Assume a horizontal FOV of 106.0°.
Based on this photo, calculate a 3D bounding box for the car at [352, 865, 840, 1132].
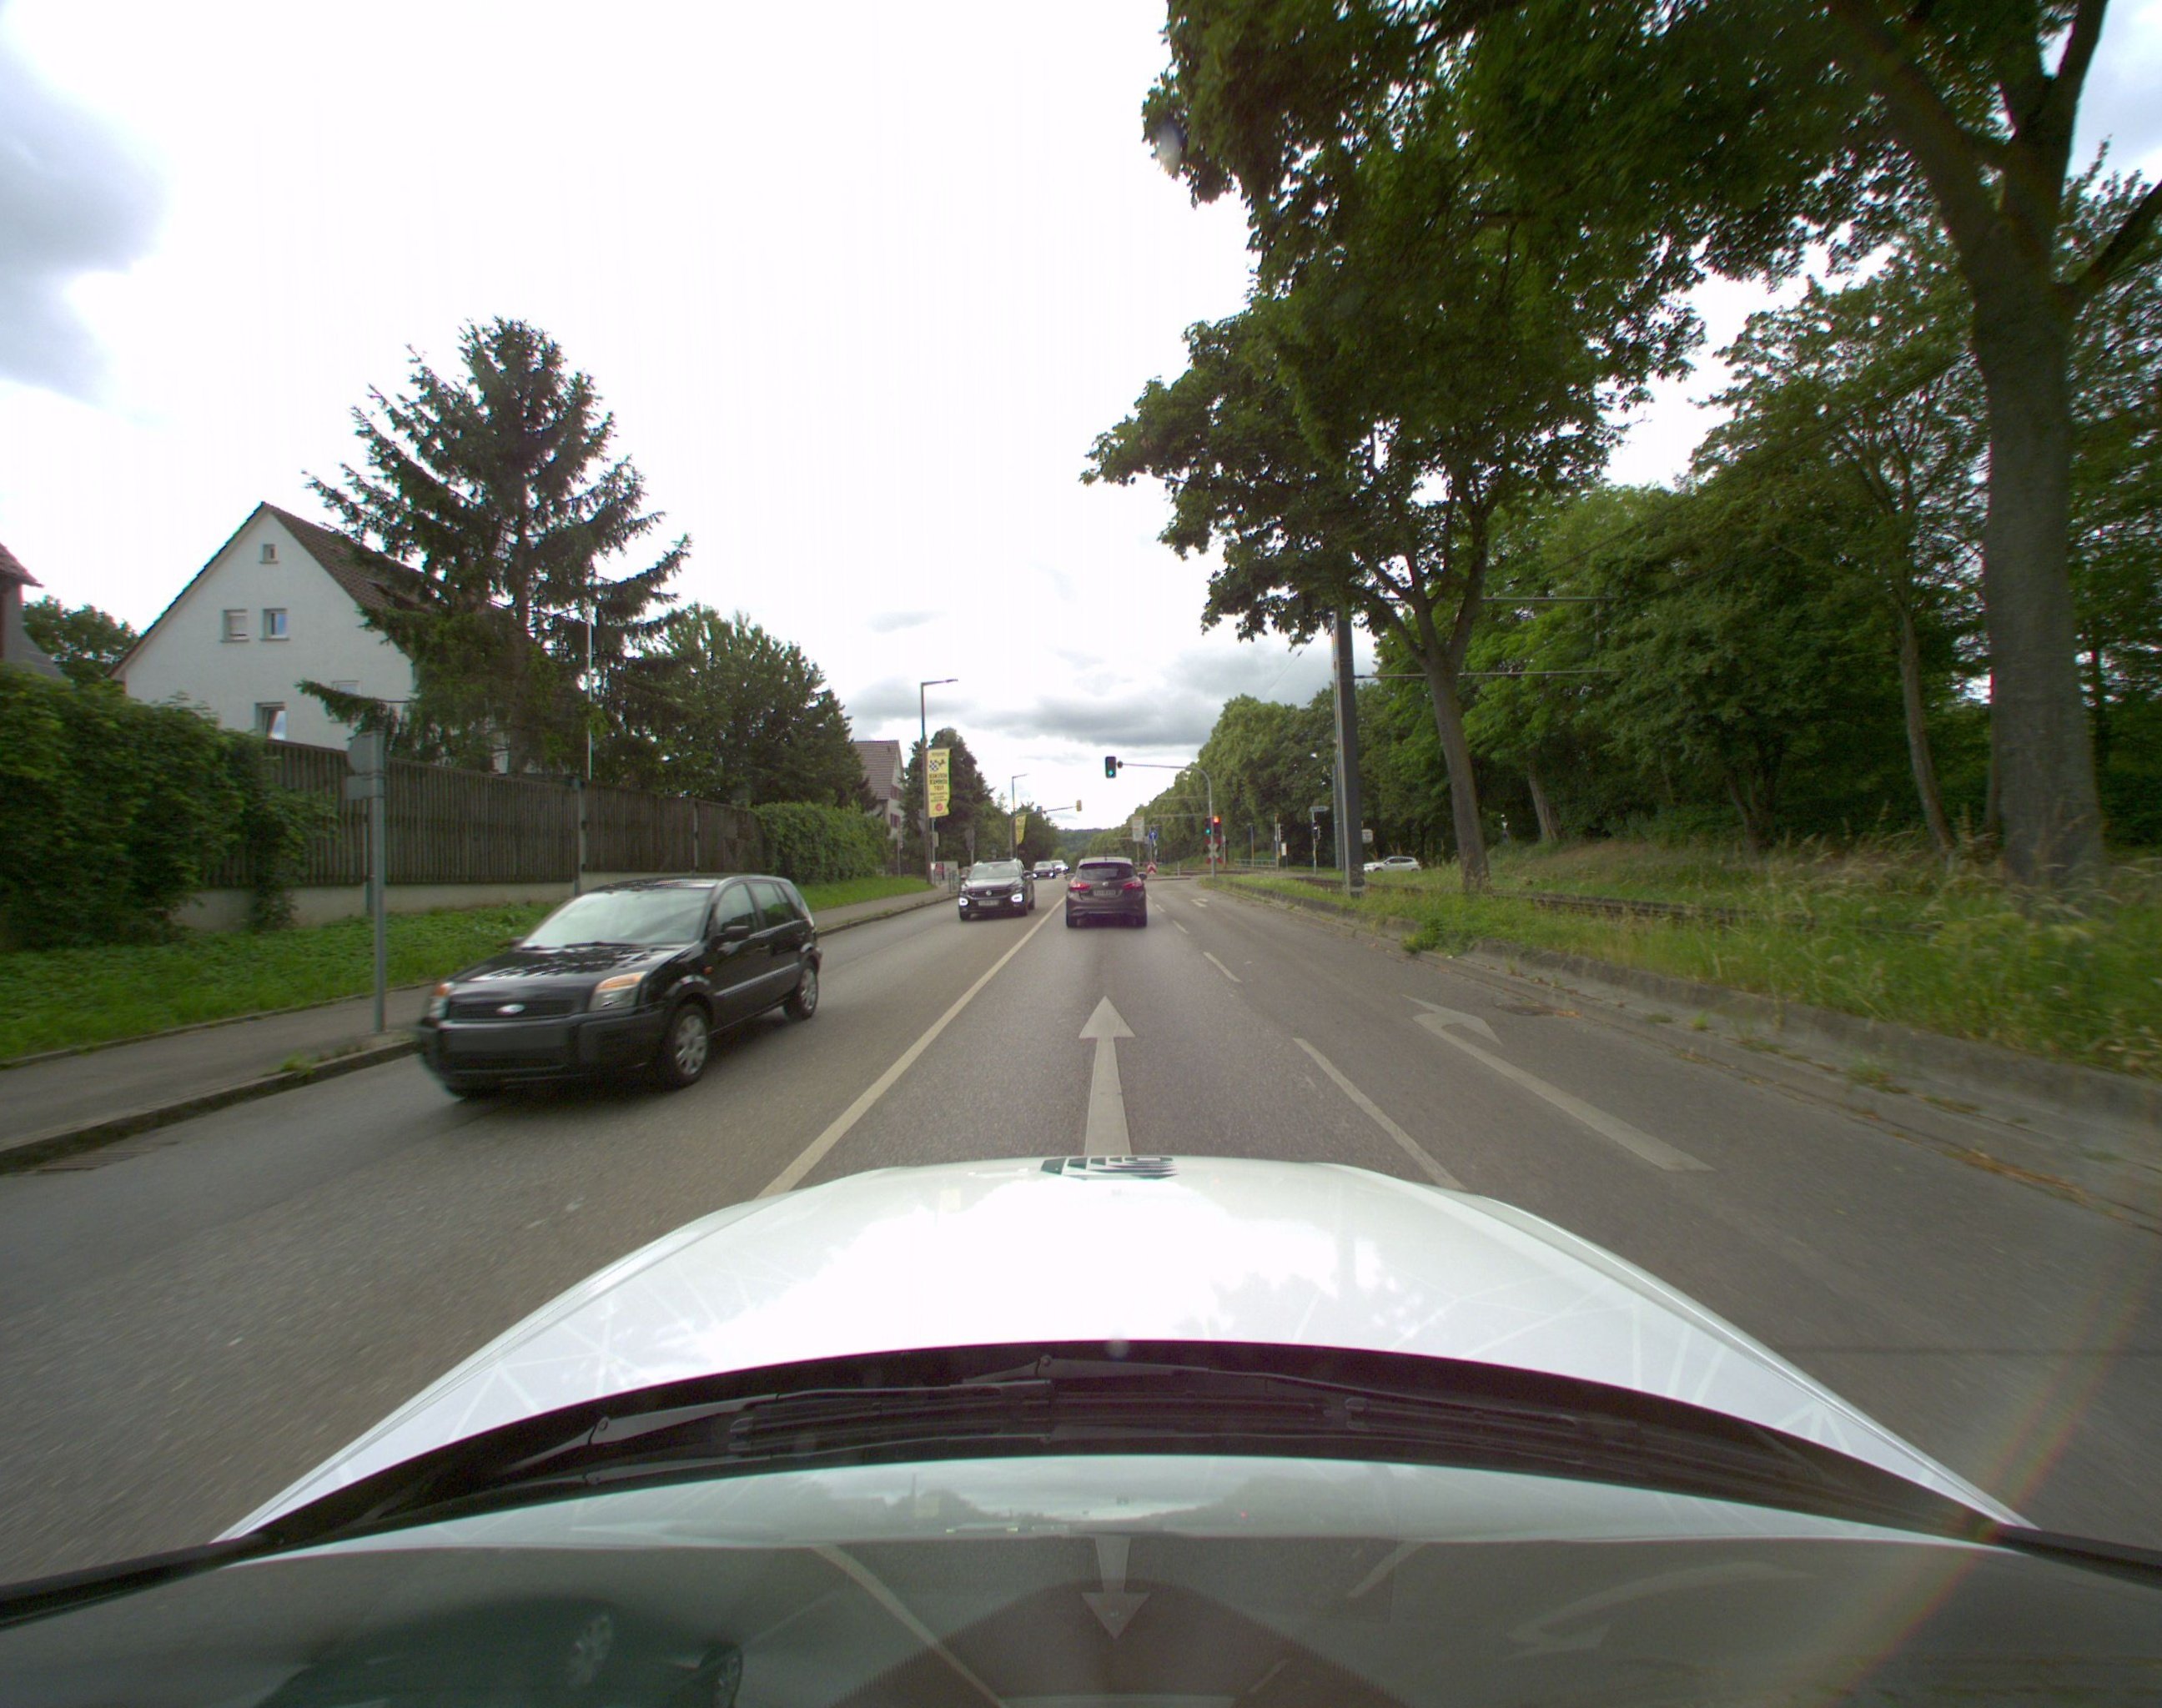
[{"bbox_3d":[-3.578,0.910,7.040,1.637,1.481,4.107,-4,0,0],"label":"car"}]

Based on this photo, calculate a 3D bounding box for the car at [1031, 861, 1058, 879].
[{"bbox_3d":[-2.907,1.284,66.224,1.805,1.373,4.163,1,0,2],"label":"car"}]

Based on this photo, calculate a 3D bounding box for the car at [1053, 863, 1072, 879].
[{"bbox_3d":[-1.858,1.676,82.039,1.813,1.567,5.204,-1,0,0],"label":"car"}]

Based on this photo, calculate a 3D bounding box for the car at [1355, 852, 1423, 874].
[{"bbox_3d":[21.536,0.616,56.965,3.979,1.354,1.997,2,0,-4],"label":"car"}]

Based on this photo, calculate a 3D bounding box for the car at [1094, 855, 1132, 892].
[{"bbox_3d":[1.430,0.822,36.272,1.533,1.478,3.766,-3,0,2],"label":"car"}]

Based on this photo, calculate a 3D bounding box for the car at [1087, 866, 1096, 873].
[{"bbox_3d":[2.184,3.251,169.983,1.736,1.310,4.000,0,0,0],"label":"car"}]

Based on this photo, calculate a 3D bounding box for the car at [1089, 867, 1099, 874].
[{"bbox_3d":[2.351,3.005,149.633,1.736,1.310,4.000,0,0,0],"label":"car"}]

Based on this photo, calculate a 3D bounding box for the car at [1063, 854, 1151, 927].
[{"bbox_3d":[0.619,0.764,19.297,1.828,1.519,4.485,0,0,2],"label":"car"}]

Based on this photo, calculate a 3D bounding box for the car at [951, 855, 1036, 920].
[{"bbox_3d":[-2.326,0.854,22.633,1.806,1.524,4.177,-4,0,0],"label":"car"}]
